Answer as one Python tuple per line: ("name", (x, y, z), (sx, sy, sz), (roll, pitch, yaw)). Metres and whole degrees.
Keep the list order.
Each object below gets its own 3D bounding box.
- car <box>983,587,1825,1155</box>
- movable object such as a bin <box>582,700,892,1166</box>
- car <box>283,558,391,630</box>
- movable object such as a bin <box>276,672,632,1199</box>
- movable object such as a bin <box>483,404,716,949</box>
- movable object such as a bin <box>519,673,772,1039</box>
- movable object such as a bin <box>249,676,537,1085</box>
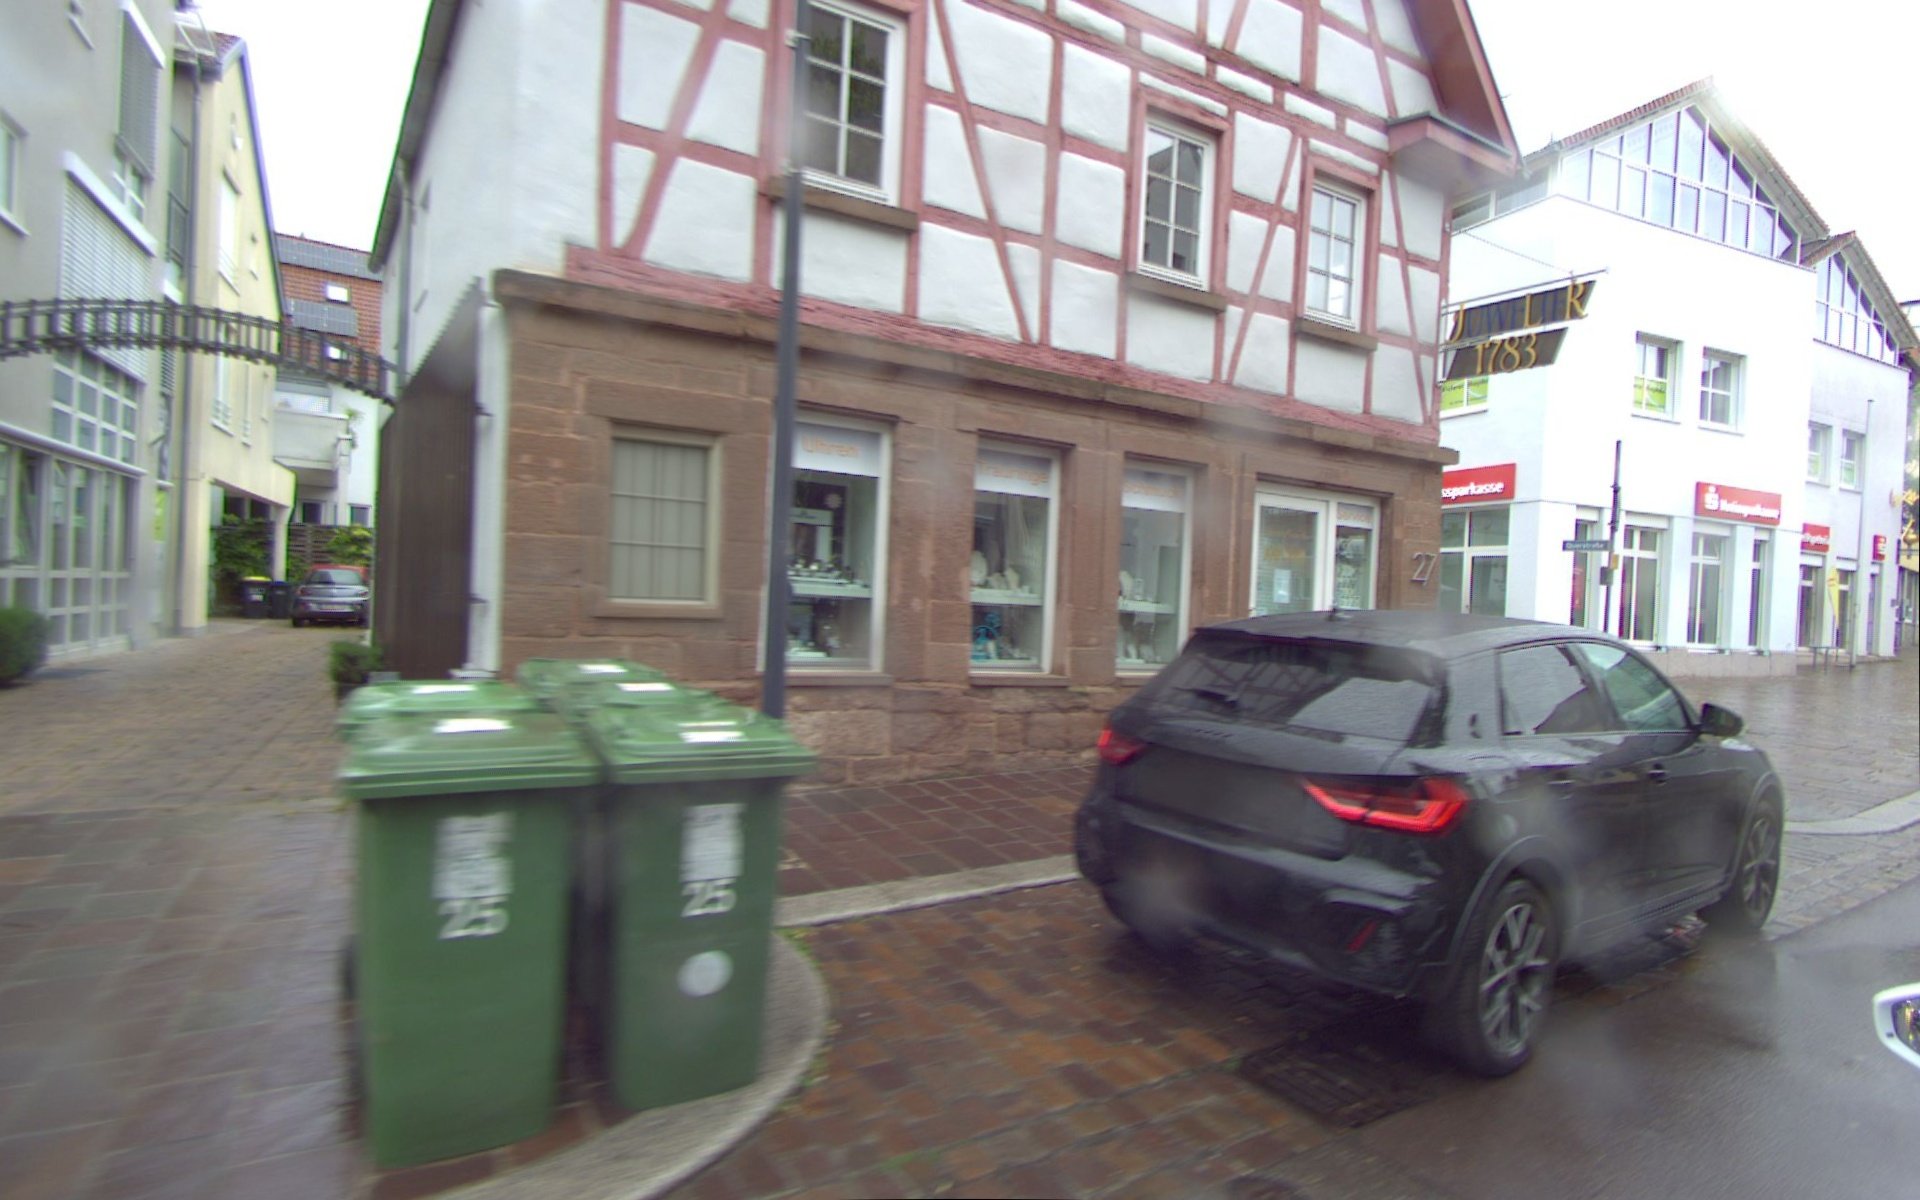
("car", (2.280, 0.770, 4.781), (3.964, 1.514, 1.978), (1, 2, -38))
("movable object such as a bin", (-0.693, 0.909, 3.069), (0.726, 1.137, 0.626), (3, 0, -32))
("car", (-15.307, -0.153, 24.866), (1.767, 1.572, 3.974), (3, 0, -25))
("movable object such as a bin", (-1.343, 0.781, 2.681), (0.726, 1.128, 0.626), (3, 0, -32))
("movable object such as a bin", (-1.522, 0.297, 4.225), (0.738, 2.040, 0.626), (2, 0, -32))
("movable object such as a bin", (-1.170, 0.861, 3.708), (0.726, 1.137, 0.626), (3, 0, -32))
("movable object such as a bin", (-1.843, 0.830, 3.299), (0.725, 1.066, 0.626), (-2, 2, -32))
